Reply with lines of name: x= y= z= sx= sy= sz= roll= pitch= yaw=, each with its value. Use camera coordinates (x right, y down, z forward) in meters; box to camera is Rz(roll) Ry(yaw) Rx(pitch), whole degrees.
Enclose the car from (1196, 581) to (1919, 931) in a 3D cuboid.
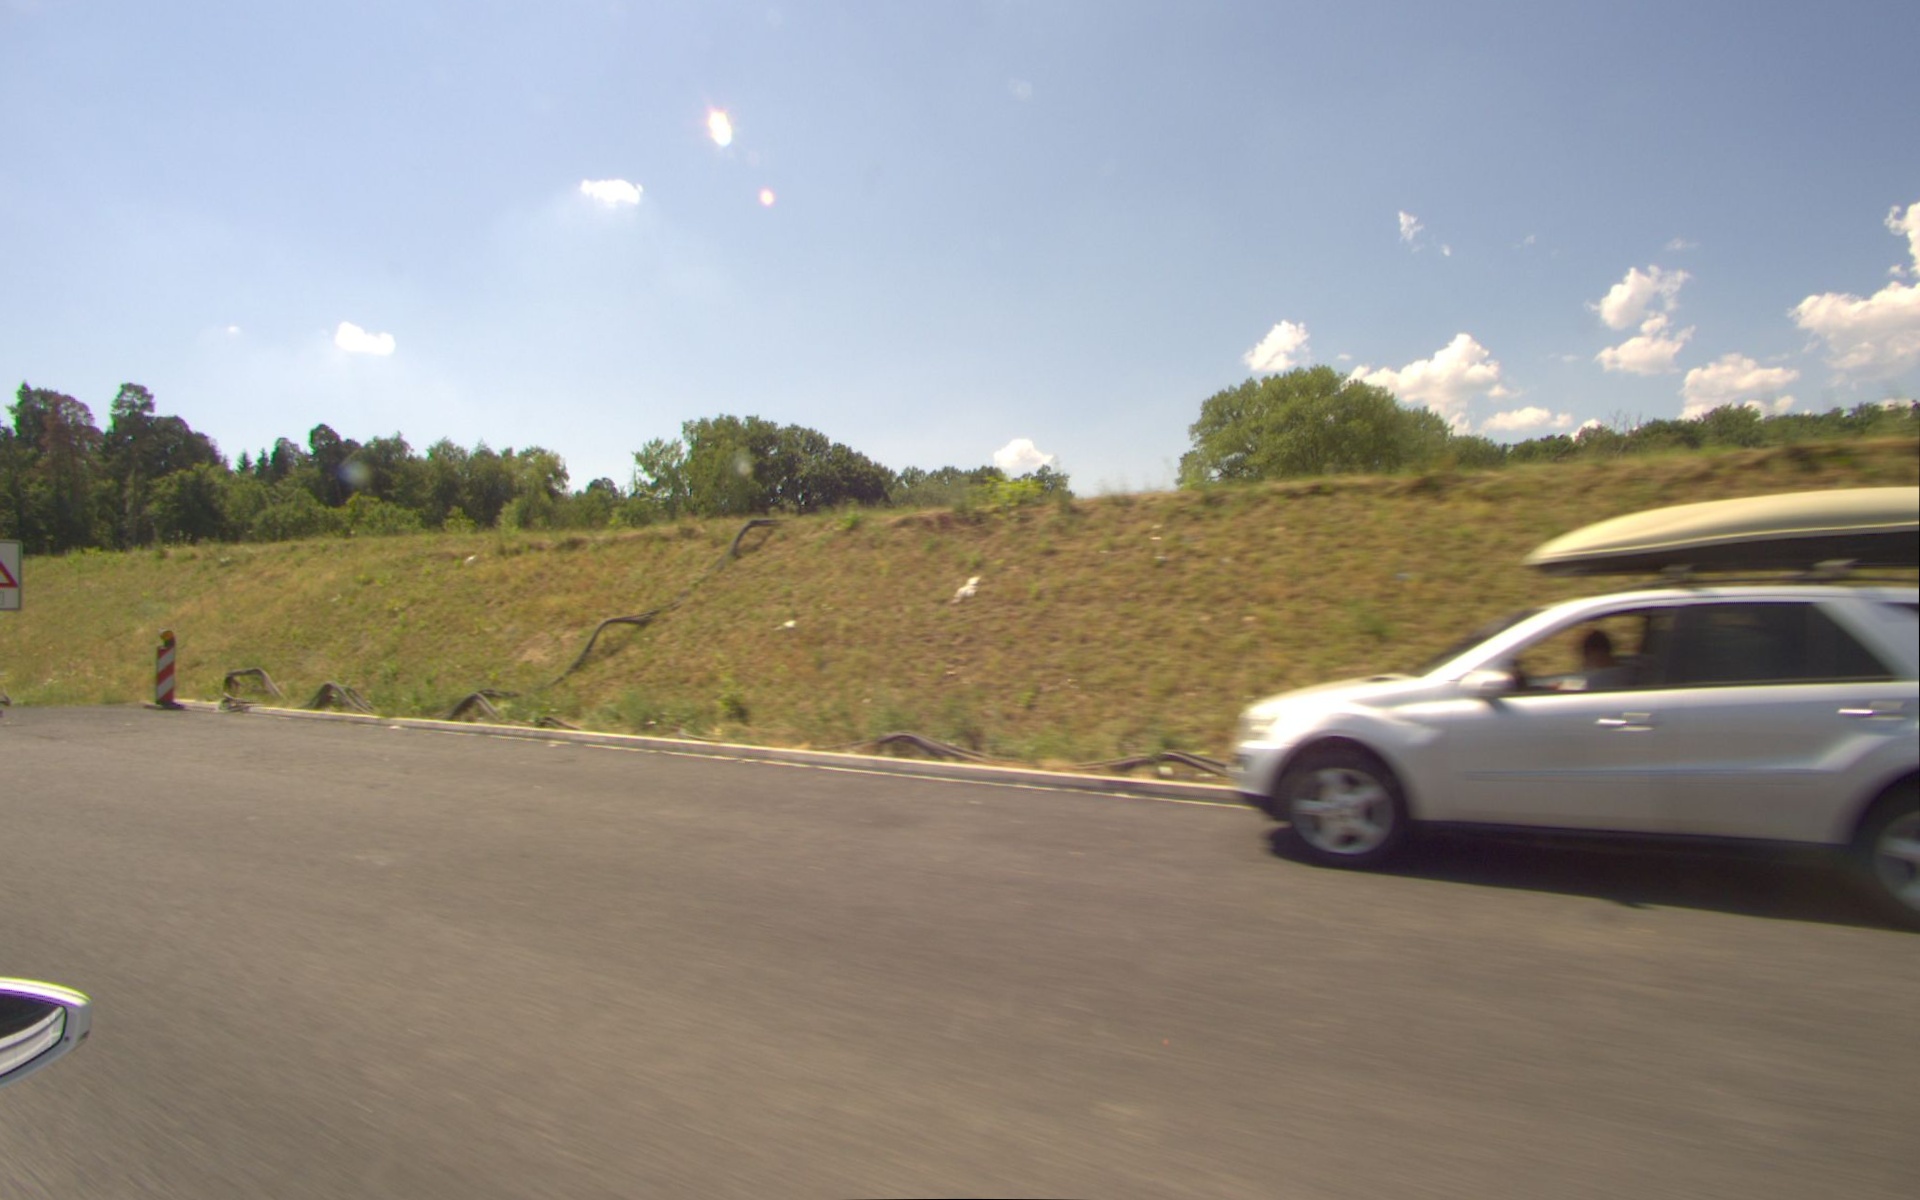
car: x=4.074 y=0.795 z=6.211 sx=4.780 sy=1.698 sz=1.774 roll=0 pitch=-2 yaw=29
